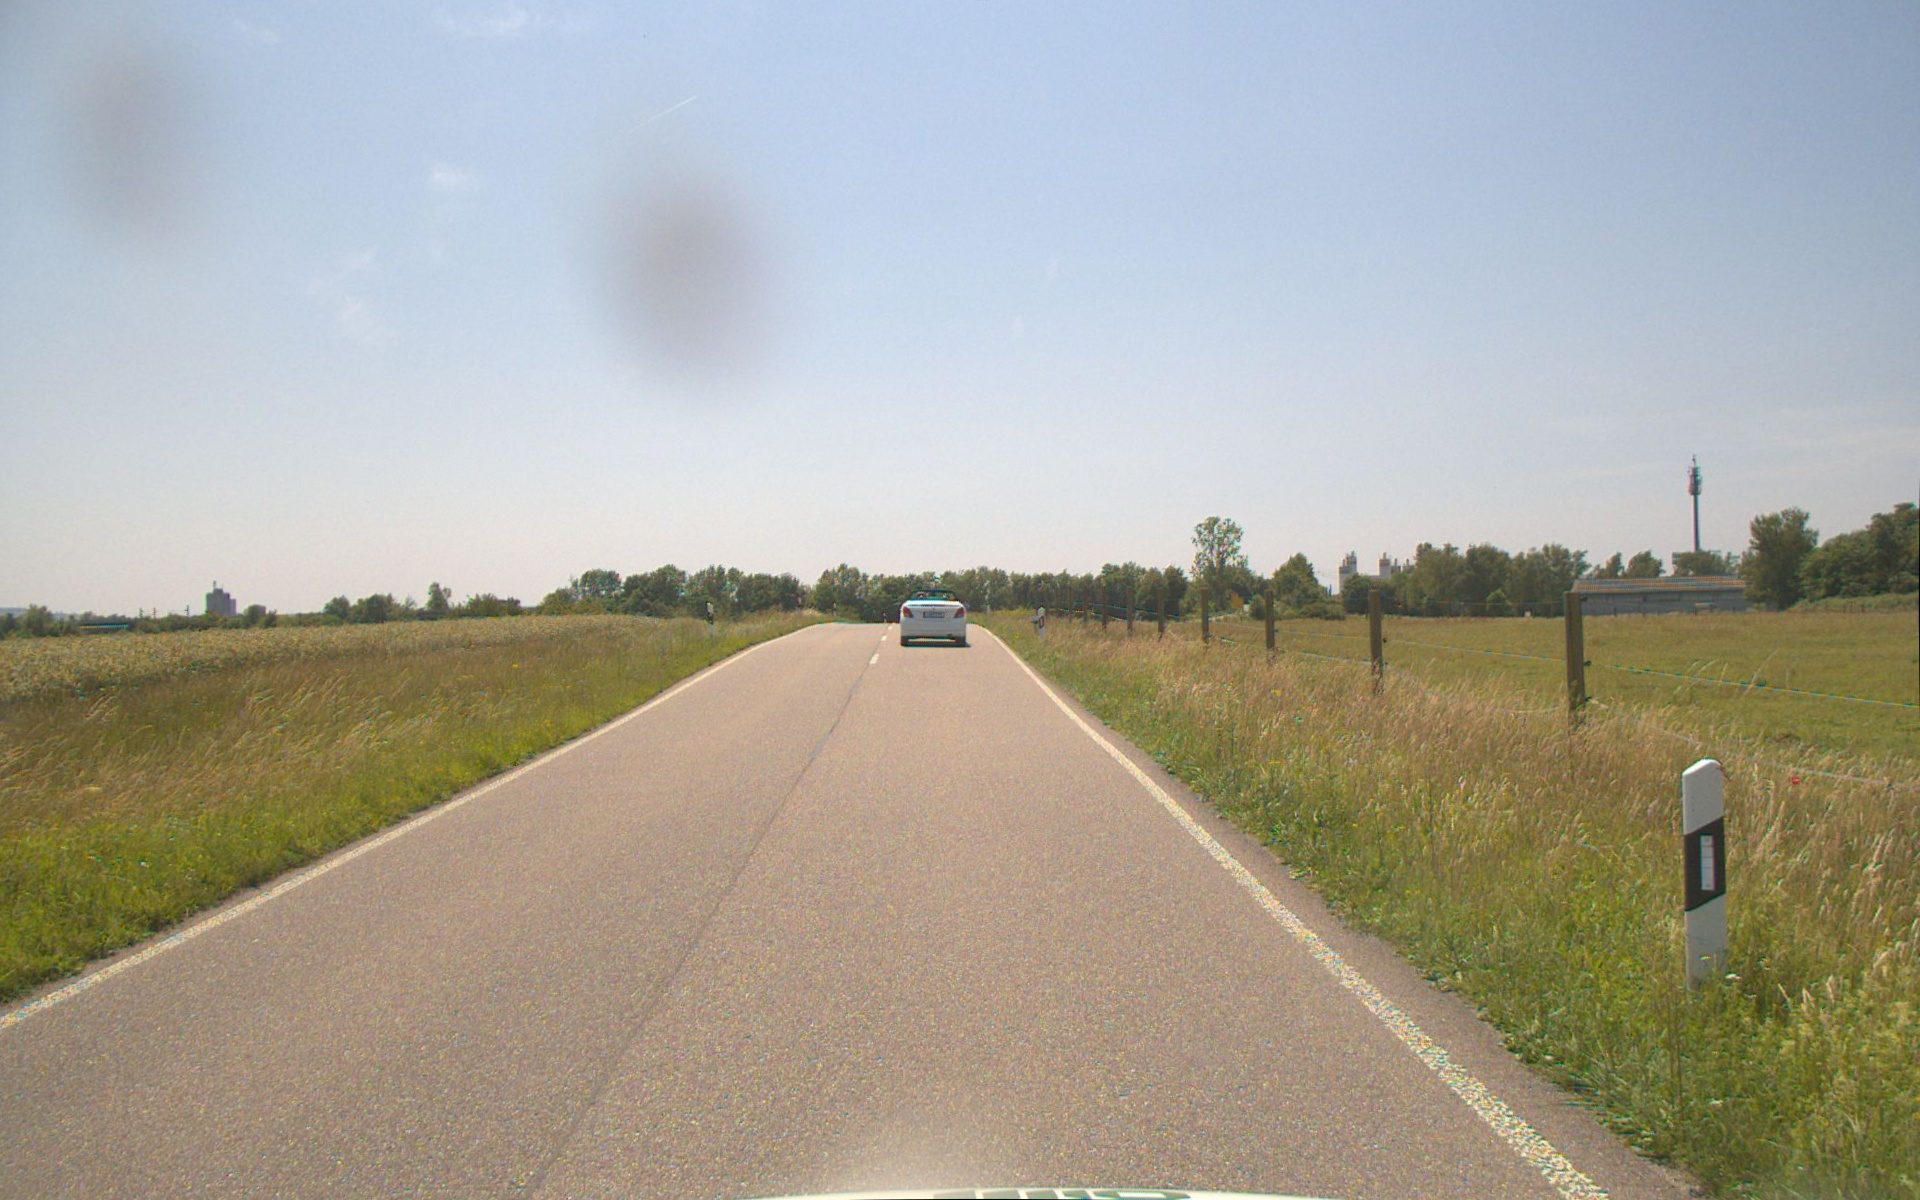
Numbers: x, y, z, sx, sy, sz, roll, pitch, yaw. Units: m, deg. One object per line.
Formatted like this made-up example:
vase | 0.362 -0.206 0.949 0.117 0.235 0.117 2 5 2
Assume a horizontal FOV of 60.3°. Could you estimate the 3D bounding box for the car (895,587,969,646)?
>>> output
car | -0.751 0.392 42.614 1.813 1.403 3.999 0 1 -2
